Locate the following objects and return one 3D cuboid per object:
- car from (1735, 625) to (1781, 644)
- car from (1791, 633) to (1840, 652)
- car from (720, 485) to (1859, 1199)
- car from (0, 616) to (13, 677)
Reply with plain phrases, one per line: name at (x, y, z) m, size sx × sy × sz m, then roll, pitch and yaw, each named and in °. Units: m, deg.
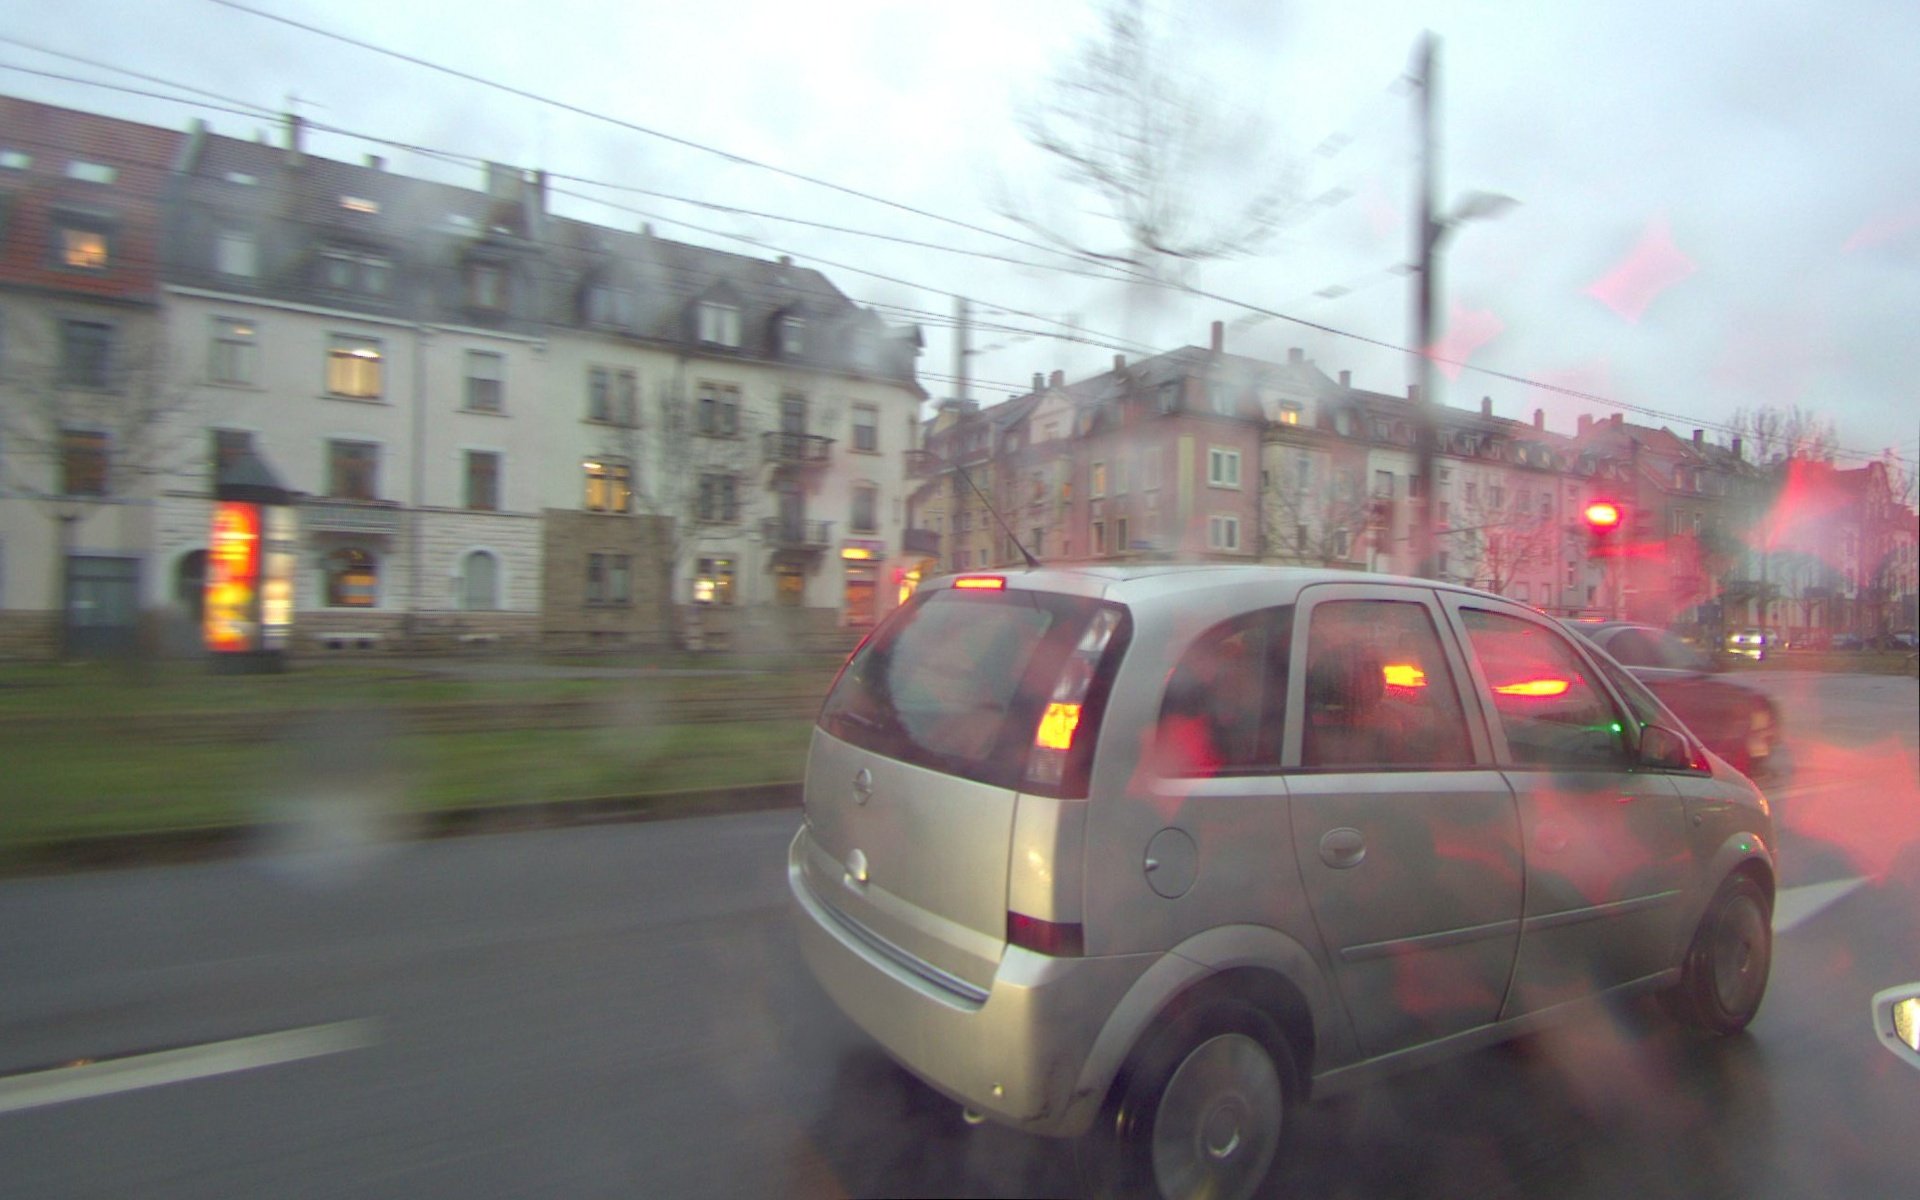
car at (63.177, 2.734, 79.500) m, size 3.516 × 1.520 × 1.767 m, roll 1°, pitch -2°, yaw -31°
car at (63.489, 3.131, 74.512) m, size 3.516 × 1.372 × 1.767 m, roll 1°, pitch -2°, yaw -31°
car at (1.352, 0.638, 3.719) m, size 4.006 × 1.621 × 1.800 m, roll 2°, pitch 0°, yaw -30°
car at (-22.600, 0.969, 20.791) m, size 1.959 × 1.349 × 4.003 m, roll 0°, pitch -2°, yaw 8°
